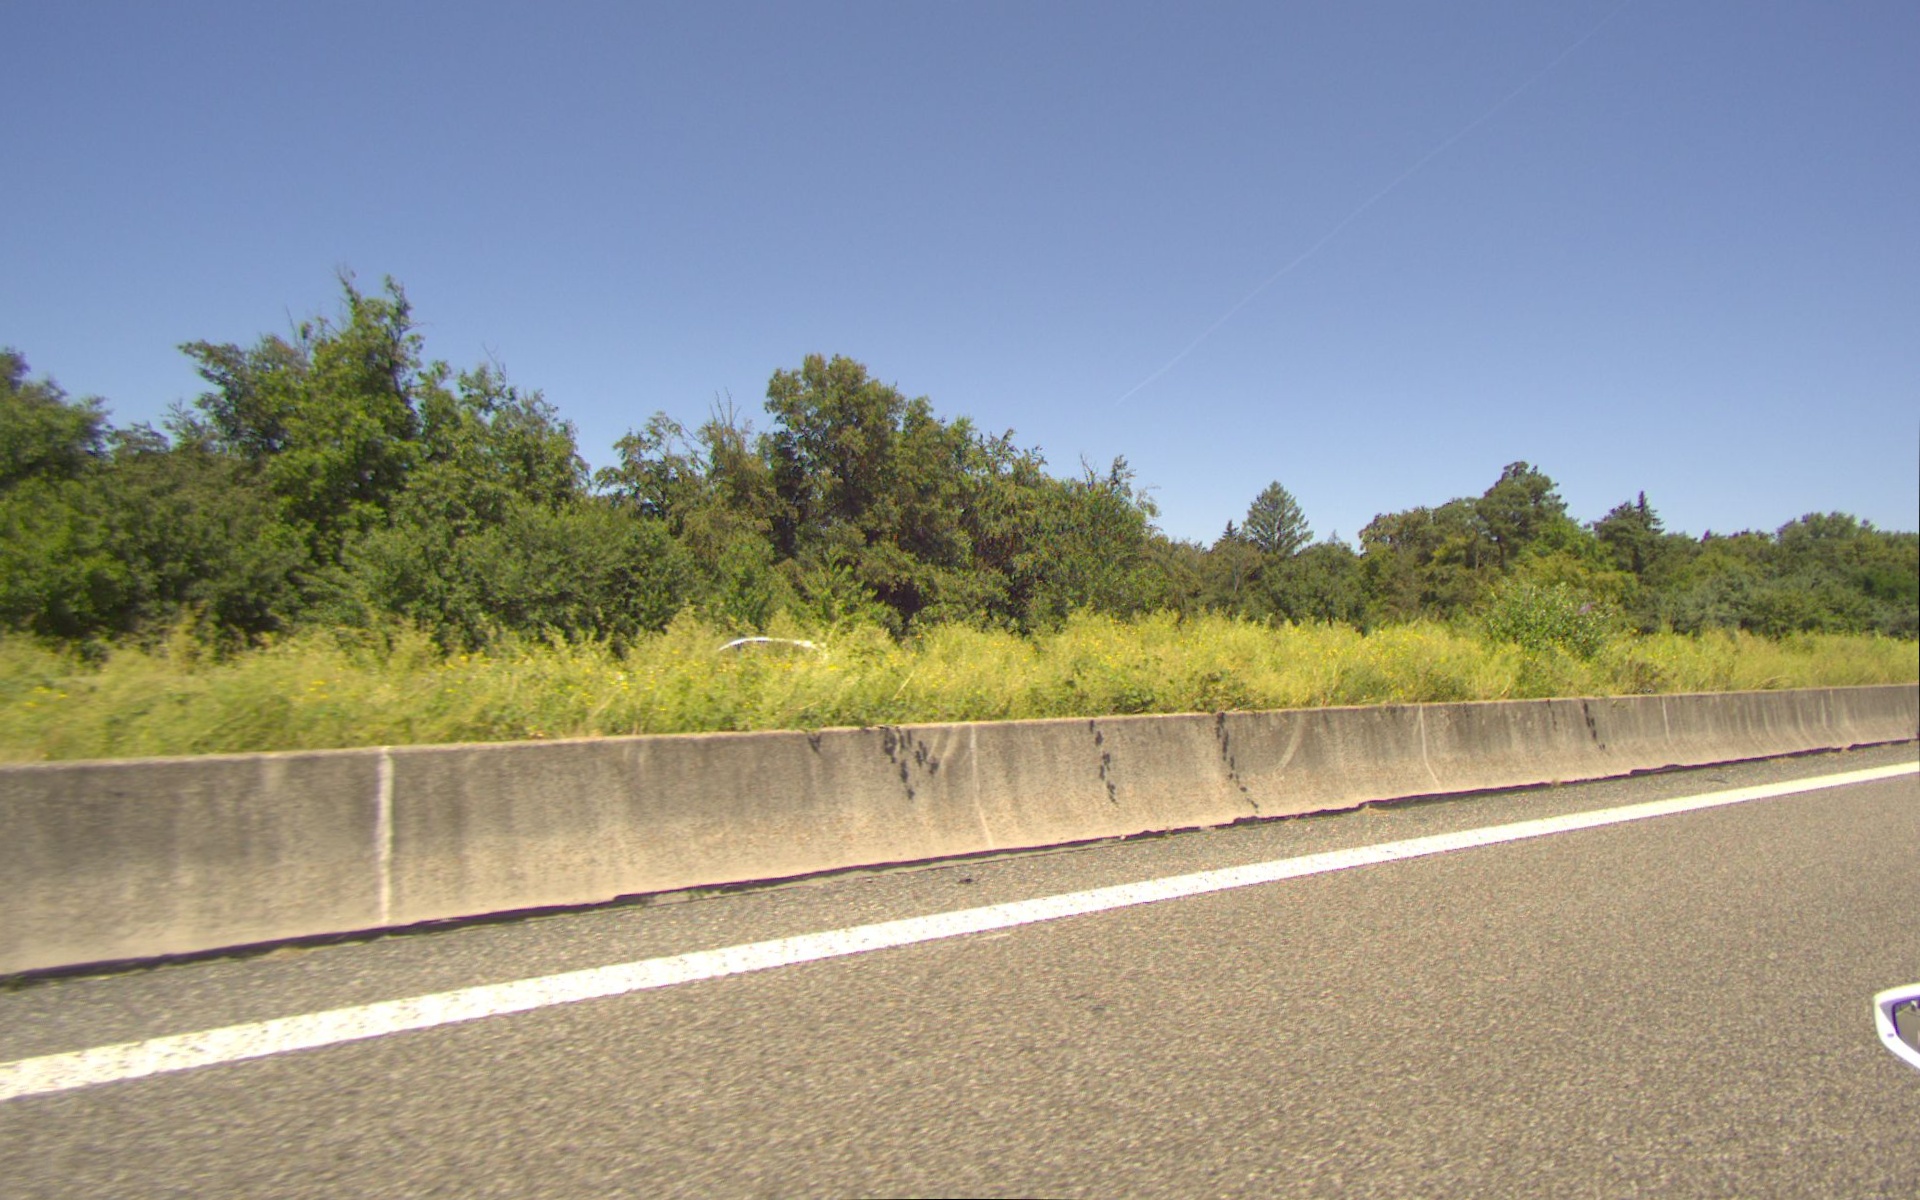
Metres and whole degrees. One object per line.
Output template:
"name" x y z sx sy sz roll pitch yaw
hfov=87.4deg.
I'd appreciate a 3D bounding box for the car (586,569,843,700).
"car" -4.261 0.591 17.508 3.953 2.040 1.984 2 -1 -30
